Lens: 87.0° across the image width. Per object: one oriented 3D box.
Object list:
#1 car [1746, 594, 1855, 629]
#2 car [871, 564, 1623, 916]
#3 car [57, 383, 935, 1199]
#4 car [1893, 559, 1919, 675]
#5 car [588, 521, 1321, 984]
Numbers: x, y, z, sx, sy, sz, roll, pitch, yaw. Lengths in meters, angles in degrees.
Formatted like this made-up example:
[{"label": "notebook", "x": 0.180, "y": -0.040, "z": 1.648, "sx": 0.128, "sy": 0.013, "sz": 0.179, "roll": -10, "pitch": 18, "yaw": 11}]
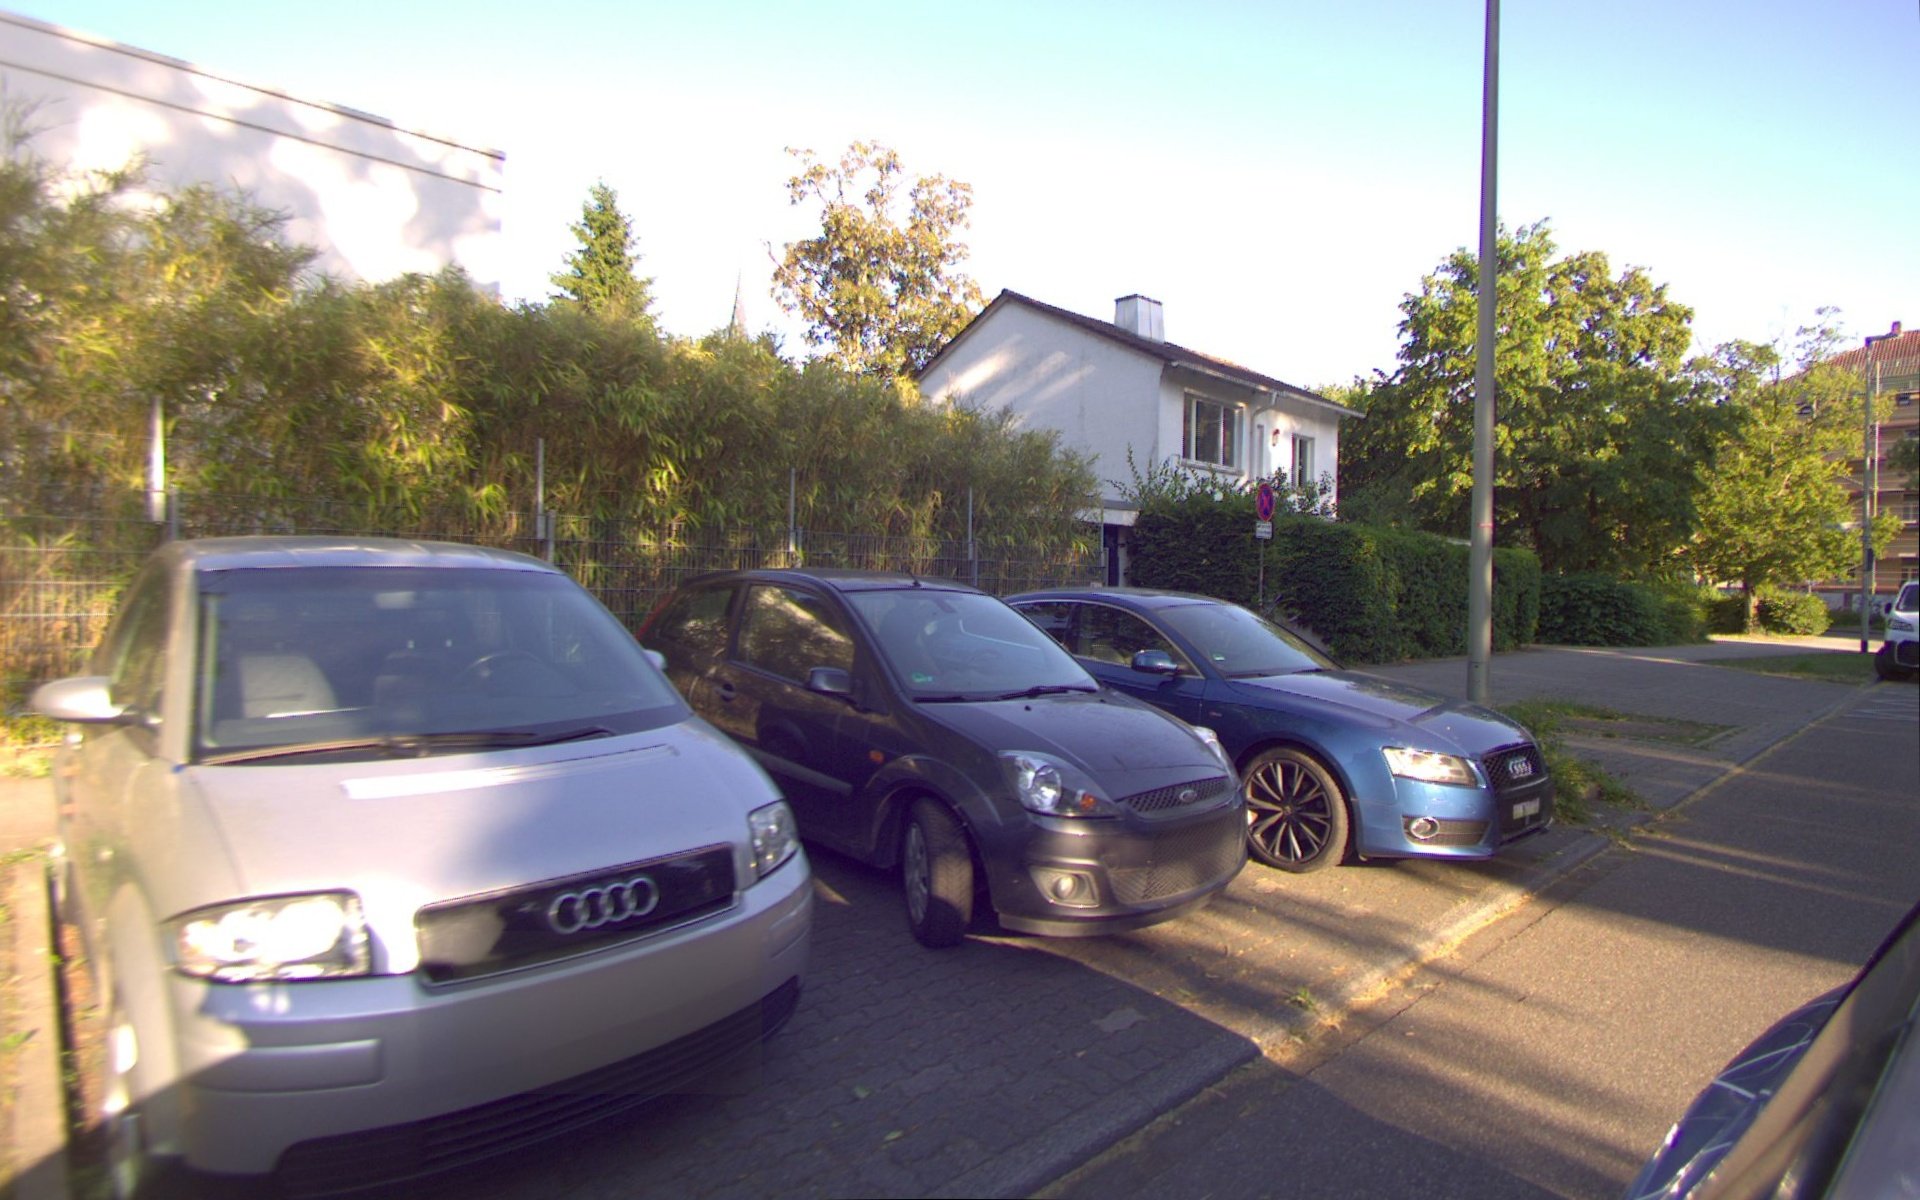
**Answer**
[{"label": "car", "x": 39.189, "y": 0.491, "z": 47.352, "sx": 1.743, "sy": 1.486, "sz": 4.850, "roll": 1, "pitch": 1, "yaw": 11}, {"label": "car", "x": 1.512, "y": 0.542, "z": 6.834, "sx": 1.889, "sy": 1.432, "sz": 4.598, "roll": -1, "pitch": 4, "yaw": -41}, {"label": "car", "x": -1.879, "y": 0.434, "z": 3.430, "sx": 1.732, "sy": 1.604, "sz": 3.498, "roll": 0, "pitch": 1, "yaw": -42}, {"label": "car", "x": 19.151, "y": 0.303, "z": 19.140, "sx": 5.068, "sy": 2.039, "sz": 1.954, "roll": 0, "pitch": 1, "yaw": -44}, {"label": "car", "x": -0.267, "y": 0.469, "z": 5.303, "sx": 3.682, "sy": 1.543, "sz": 1.763, "roll": 1, "pitch": 1, "yaw": 44}]
